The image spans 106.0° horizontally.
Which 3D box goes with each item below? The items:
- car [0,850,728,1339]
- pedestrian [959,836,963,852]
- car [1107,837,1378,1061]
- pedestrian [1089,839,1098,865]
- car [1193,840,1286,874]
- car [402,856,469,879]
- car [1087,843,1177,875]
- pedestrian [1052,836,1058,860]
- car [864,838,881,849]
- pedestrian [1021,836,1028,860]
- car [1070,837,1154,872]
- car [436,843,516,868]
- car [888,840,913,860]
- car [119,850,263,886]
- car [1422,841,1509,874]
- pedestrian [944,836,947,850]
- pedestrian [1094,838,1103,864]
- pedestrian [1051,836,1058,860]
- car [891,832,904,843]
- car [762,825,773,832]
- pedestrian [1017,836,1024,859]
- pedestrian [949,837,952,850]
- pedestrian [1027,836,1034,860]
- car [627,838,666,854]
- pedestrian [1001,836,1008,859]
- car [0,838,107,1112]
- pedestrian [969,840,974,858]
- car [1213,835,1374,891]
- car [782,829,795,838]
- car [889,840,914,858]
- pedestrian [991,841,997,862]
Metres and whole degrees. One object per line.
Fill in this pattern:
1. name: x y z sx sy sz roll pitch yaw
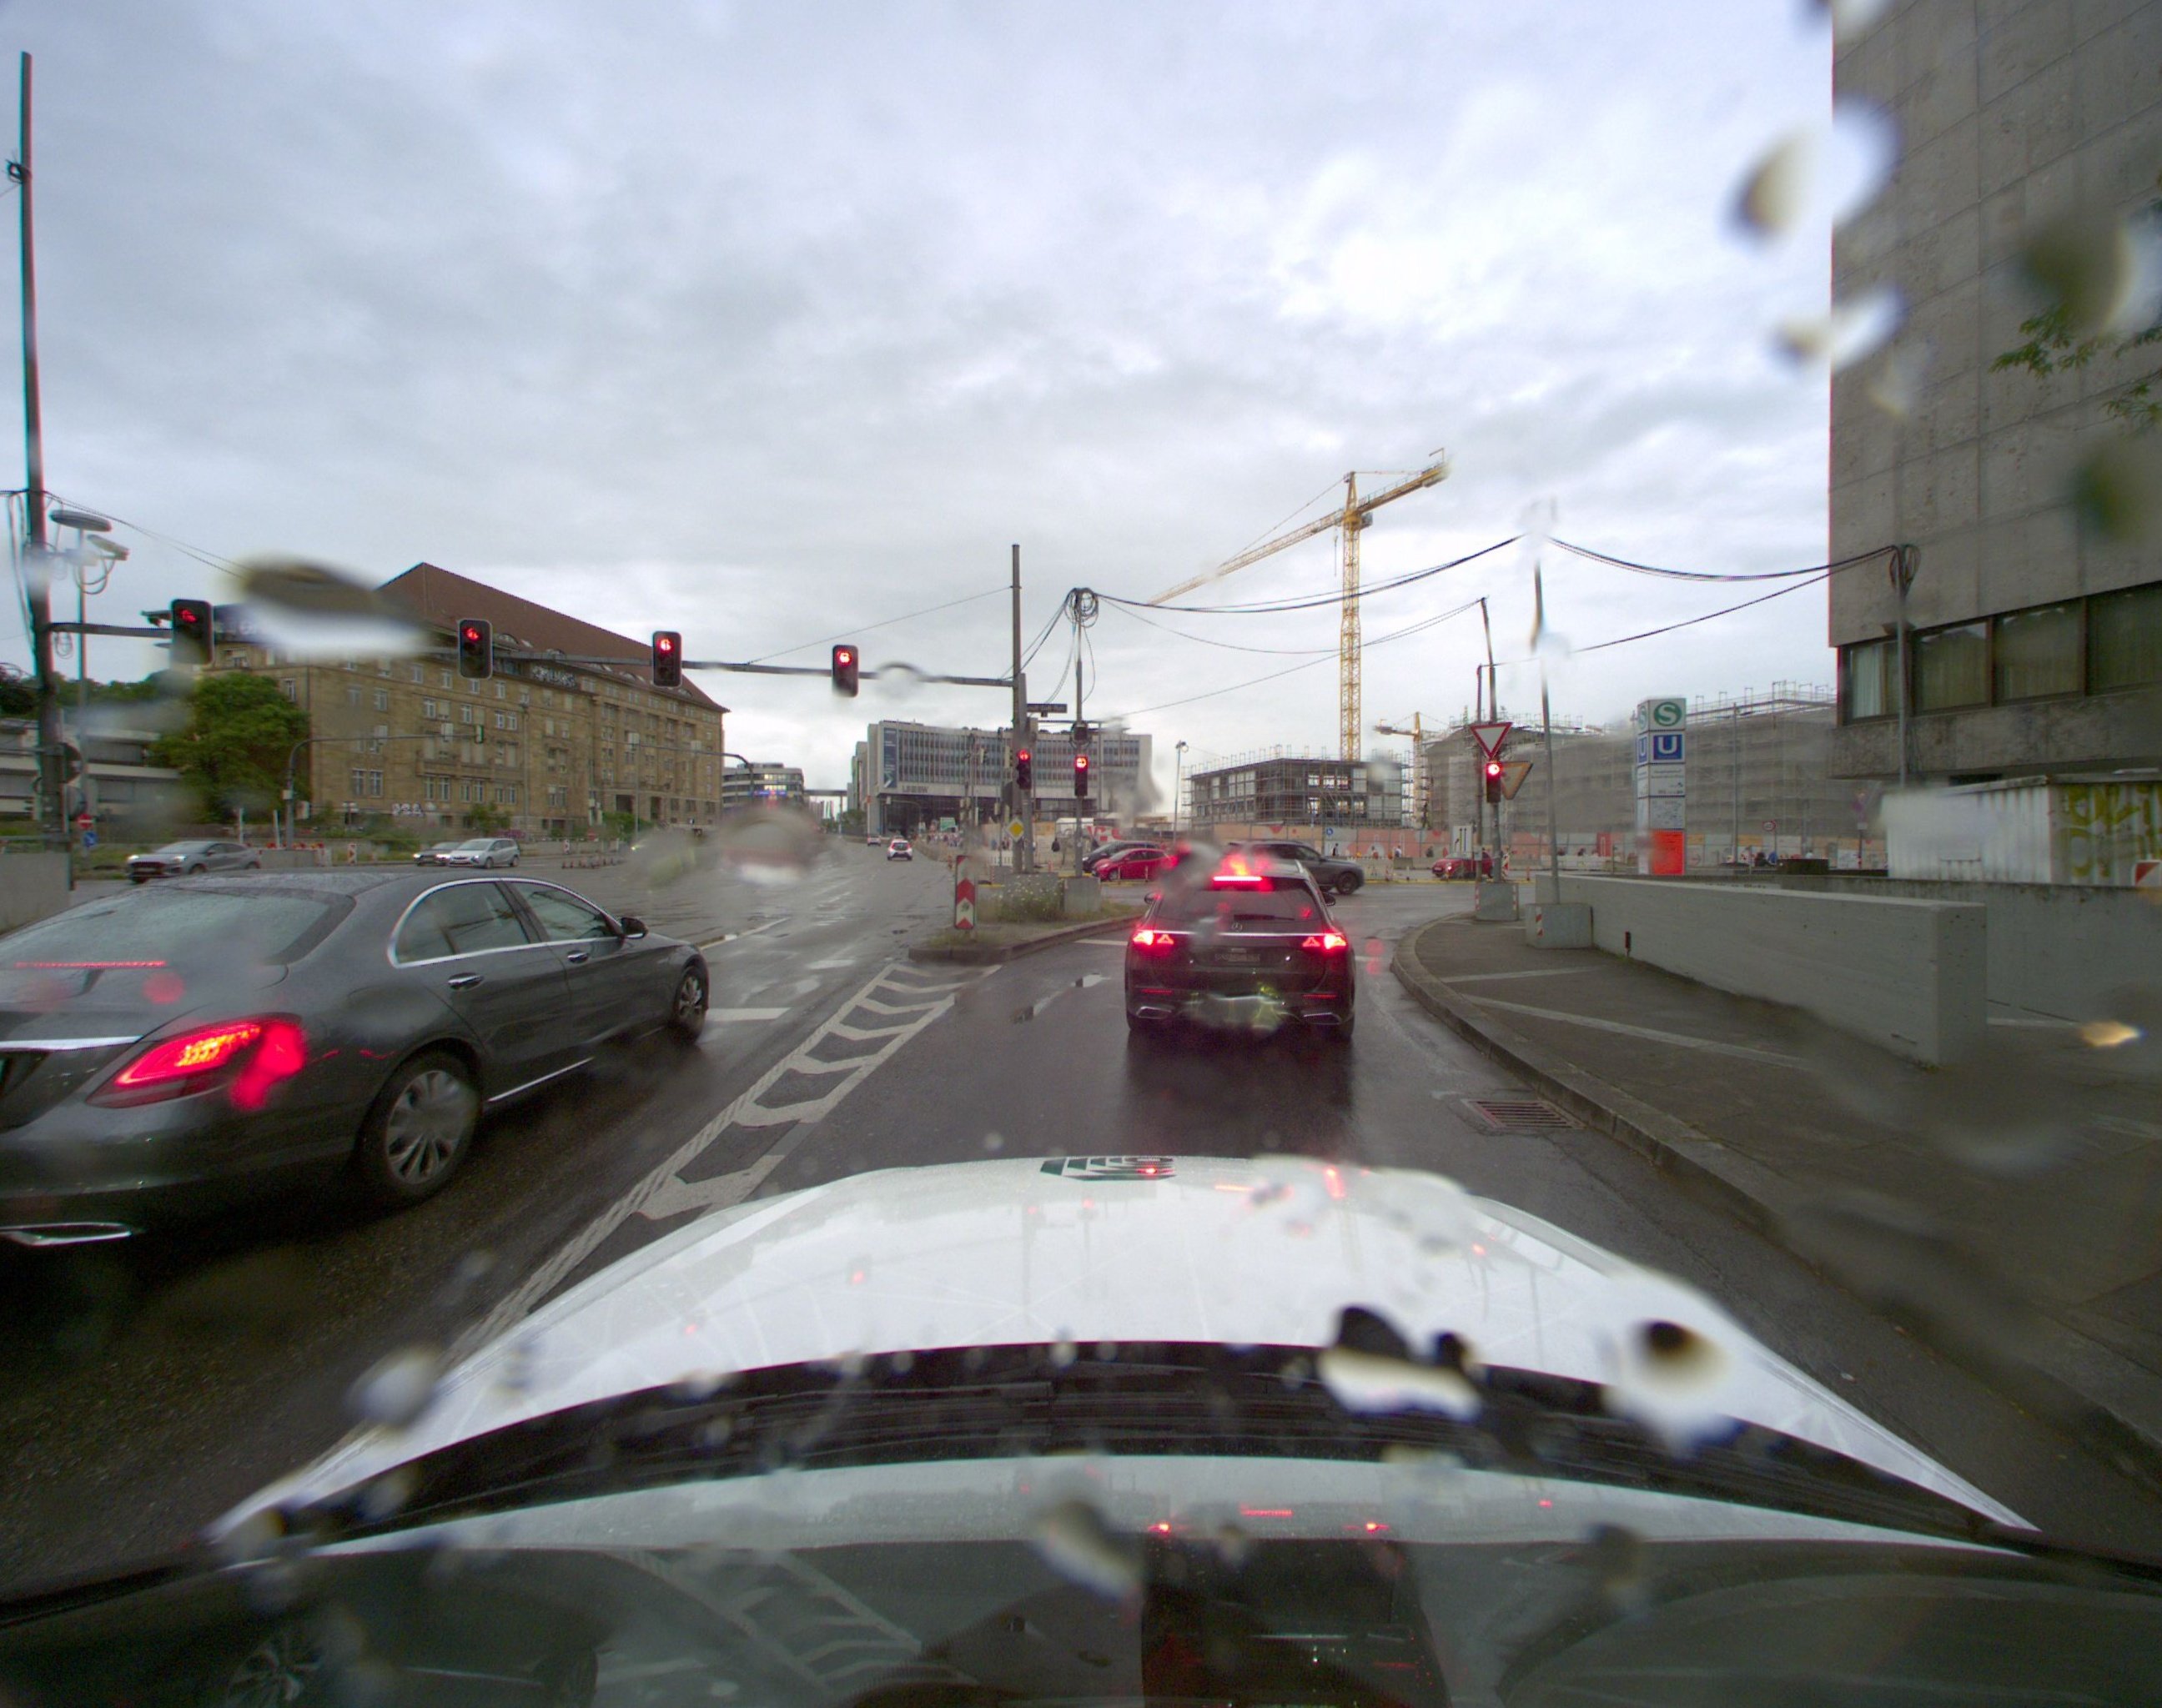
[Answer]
1. car: -3.757 0.729 4.678 1.780 1.402 4.479 1 1 -5
2. pedestrian: -14.728 -1.261 100.162 0.362 1.898 0.573 1 -1 -16
3. car: 1.380 0.689 7.767 1.881 1.544 4.001 1 -1 7
4. pedestrian: 0.906 -0.165 59.216 0.571 1.898 0.363 1 -1 9
5. car: 7.739 0.176 39.944 4.050 1.552 1.988 1 -1 -18
6. car: -37.026 0.761 46.809 1.739 1.260 3.315 1 -1 -13
7. car: 2.174 0.235 35.150 3.542 1.304 1.656 1 -1 -17
8. pedestrian: -2.052 -0.493 64.336 0.362 1.898 0.572 1 -1 -20
9. car: -31.715 -1.577 123.715 2.002 1.640 3.970 1 -1 -23
10. pedestrian: -4.531 -0.490 65.738 0.363 1.898 0.571 1 -1 -29
11. car: 1.594 0.061 42.707 3.993 1.734 1.990 1 -1 -15
12. car: -32.566 0.108 43.973 1.768 1.260 4.178 1 -1 -11
13. car: -13.955 -0.300 63.004 1.782 1.473 3.544 1 -1 -12
14. car: -33.505 0.535 30.830 1.625 1.260 3.982 1 -1 -13
15. car: 20.950 0.208 44.372 3.995 1.708 1.989 1 -1 -16
16. pedestrian: -18.812 -1.528 113.258 0.362 1.898 0.573 1 -1 -16
17. pedestrian: 1.294 -0.192 60.189 0.569 1.898 0.364 0 -1 26
18. pedestrian: -2.088 -0.494 64.343 0.363 1.898 0.572 1 -1 -24
19. car: -30.006 -2.650 133.139 1.733 1.639 3.412 1 2 -20
20. car: -86.289 -7.099 224.146 2.008 1.816 3.956 1 -1 -35
21. pedestrian: -4.897 -0.514 65.572 0.363 1.898 0.571 1 -1 -27
22. pedestrian: -18.521 -1.494 115.271 0.361 1.898 0.574 1 -1 -12
23. pedestrian: -4.106 -0.498 65.884 0.363 1.898 0.571 1 -1 -26
24. car: -37.308 -0.667 70.037 1.768 1.260 3.985 1 -1 -11
25. pedestrian: -6.369 -0.515 67.508 0.363 1.898 0.572 1 -1 -24
26. car: -6.752 0.631 2.430 1.884 1.515 4.993 1 -1 -5
27. pedestrian: -11.630 -0.551 86.396 0.362 1.898 0.573 1 -1 -16
28. car: 7.355 0.332 28.437 5.084 1.798 1.994 1 -1 -9
29. car: -69.959 -4.870 194.644 2.007 2.014 3.958 1 -1 -33
30. car: -18.217 -0.470 82.437 1.999 1.766 4.392 1 -1 -18
31. pedestrian: -8.120 -0.226 75.940 0.362 1.898 0.572 1 -1 -20
